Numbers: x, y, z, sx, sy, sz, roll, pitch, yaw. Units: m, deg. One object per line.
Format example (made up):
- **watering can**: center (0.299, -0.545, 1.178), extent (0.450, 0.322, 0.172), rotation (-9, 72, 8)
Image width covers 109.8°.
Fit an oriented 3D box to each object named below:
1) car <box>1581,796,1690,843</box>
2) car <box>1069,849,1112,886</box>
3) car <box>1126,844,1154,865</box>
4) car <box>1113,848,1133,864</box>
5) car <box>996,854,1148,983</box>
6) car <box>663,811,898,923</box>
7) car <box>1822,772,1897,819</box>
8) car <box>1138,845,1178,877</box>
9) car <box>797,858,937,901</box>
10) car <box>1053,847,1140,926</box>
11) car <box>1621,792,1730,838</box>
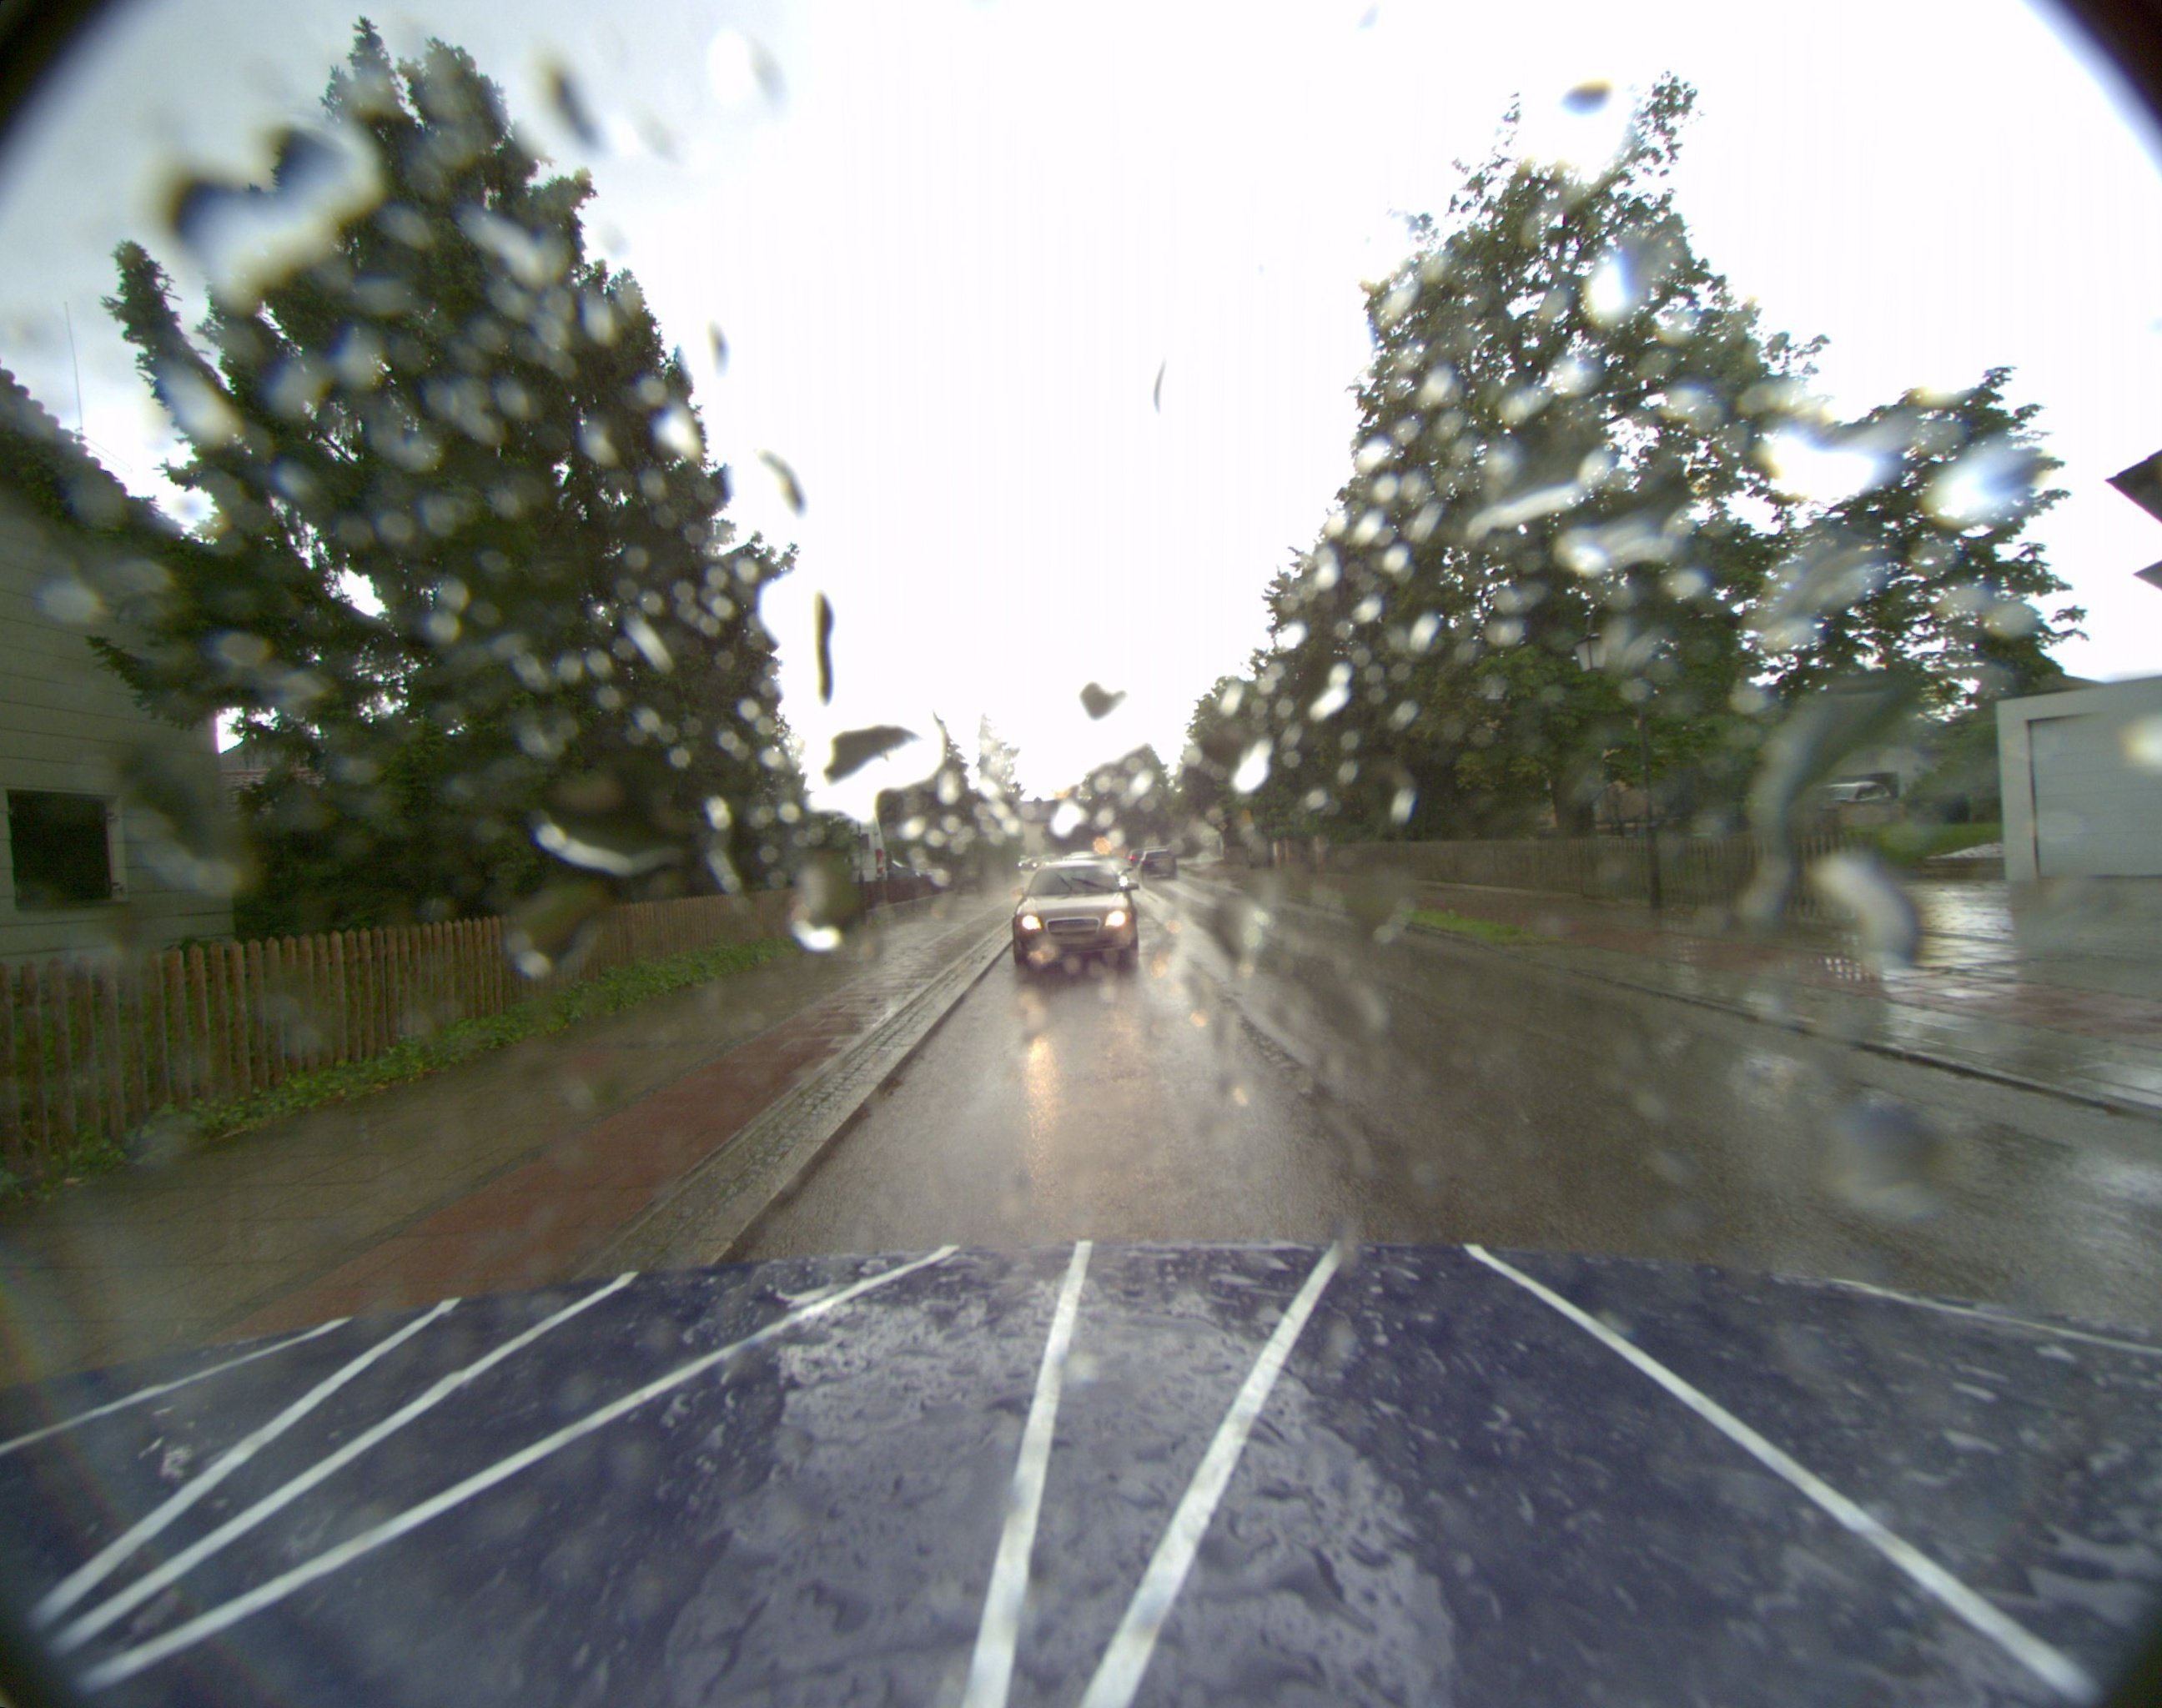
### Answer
- **car**: center (26.180, -1.587, 35.968), extent (1.845, 1.792, 3.649), rotation (-6, 0, -33)
- **car**: center (0.469, 0.602, 37.751), extent (1.872, 1.512, 4.960), rotation (-5, 1, 1)
- **car**: center (4.582, 0.002, 59.834), extent (1.785, 1.457, 4.374), rotation (-4, 1, 0)
- **car**: center (4.165, 0.171, 75.693), extent (1.712, 1.457, 4.000), rotation (-4, 1, 1)
- **car**: center (-0.085, 0.825, 11.767), extent (1.872, 1.512, 4.188), rotation (-3, 1, 1)
- **car**: center (-7.592, 0.288, 19.749), extent (5.321, 2.712, 1.998), rotation (0, 1, -9)
- **car**: center (40.777, -3.028, 39.788), extent (3.857, 2.281, 1.782), rotation (-3, 1, -29)
- **car**: center (3.885, 0.349, 38.678), extent (1.642, 1.512, 4.188), rotation (-1, 0, 1)
- **car**: center (-7.333, 0.863, 26.440), extent (4.443, 1.413, 1.829), rotation (0, 1, -7)
- **car**: center (0.393, 0.736, 19.976), extent (1.872, 1.603, 4.960), rotation (-5, 1, 1)
- **car**: center (28.910, -1.875, 37.041), extent (1.845, 1.792, 3.649), rotation (-6, 0, -33)
